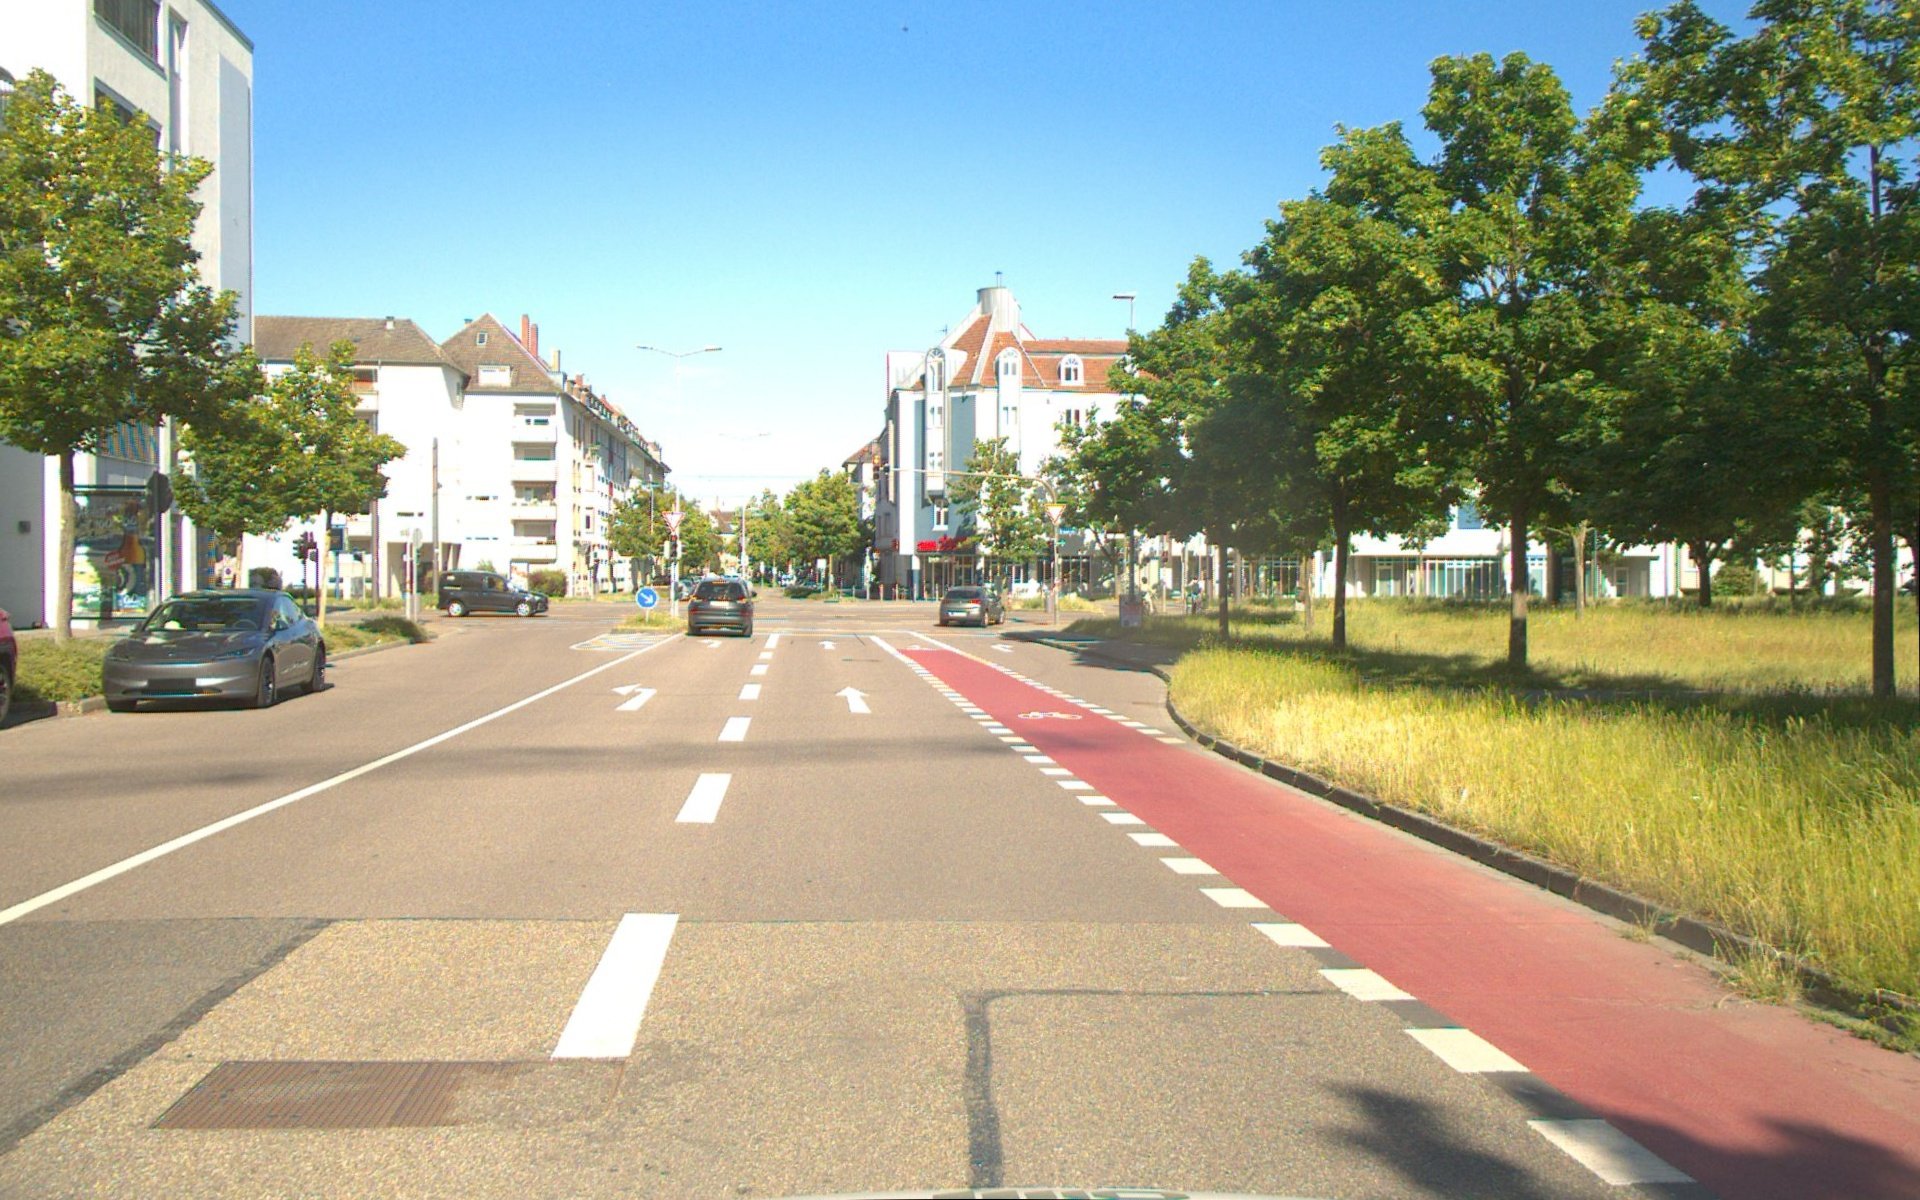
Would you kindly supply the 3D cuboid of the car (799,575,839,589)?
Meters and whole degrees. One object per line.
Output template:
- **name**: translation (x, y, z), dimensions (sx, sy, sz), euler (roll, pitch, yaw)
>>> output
- **car**: translation (-13.005, -1.690, 152.569), dimensions (3.507, 1.244, 1.724), euler (1, 0, -15)

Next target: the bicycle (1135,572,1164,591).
- **bicycle**: translation (12.455, -1.198, 108.587), dimensions (1.830, 1.203, 0.561), euler (0, 1, -11)

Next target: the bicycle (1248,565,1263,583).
- **bicycle**: translation (19.742, -1.735, 110.473), dimensions (0.549, 1.203, 1.868), euler (0, 1, -5)

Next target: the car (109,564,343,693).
- **car**: translation (-9.491, 0.283, 21.772), dimensions (1.657, 1.494, 4.538), euler (-1, 1, -9)

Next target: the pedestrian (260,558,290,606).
- **pedestrian**: translation (-25.399, -0.671, 61.324), dimensions (0.796, 1.756, 1.151), euler (0, 1, -11)

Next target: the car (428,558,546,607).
- **car**: translation (-19.375, -0.722, 67.932), dimensions (4.400, 1.832, 1.761), euler (2, 1, -10)

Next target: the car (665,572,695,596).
- **car**: translation (-19.596, -1.121, 115.822), dimensions (1.719, 1.583, 3.727), euler (2, 1, -5)

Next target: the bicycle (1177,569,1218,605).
- **bicycle**: translation (9.402, -0.528, 65.375), dimensions (0.776, 1.371, 2.258), euler (0, 1, 31)

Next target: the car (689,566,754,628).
- **car**: translation (-6.924, -0.119, 48.251), dimensions (1.721, 1.656, 4.471), euler (2, 1, -8)

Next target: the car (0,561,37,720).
- **car**: translation (-10.556, 0.416, 15.671), dimensions (1.656, 1.635, 4.303), euler (2, 1, -8)

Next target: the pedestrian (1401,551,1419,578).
- **pedestrian**: translation (29.667, -2.348, 108.935), dimensions (0.971, 1.753, 0.653), euler (0, 1, -8)

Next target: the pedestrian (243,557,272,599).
- **pedestrian**: translation (-30.532, -0.972, 71.896), dimensions (0.904, 1.801, 1.151), euler (0, 1, -11)

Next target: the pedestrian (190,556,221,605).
- **pedestrian**: translation (-27.790, -0.722, 60.934), dimensions (0.796, 1.756, 1.151), euler (0, 1, -11)

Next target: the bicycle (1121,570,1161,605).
- **bicycle**: translation (7.140, -0.503, 65.129), dimensions (0.776, 1.371, 2.074), euler (0, 1, 31)

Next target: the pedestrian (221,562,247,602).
- **pedestrian**: translation (-32.074, -0.793, 73.088), dimensions (0.796, 1.756, 1.151), euler (0, 1, -11)

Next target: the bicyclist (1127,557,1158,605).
- **bicyclist**: translation (7.202, -0.754, 65.234), dimensions (0.776, 1.856, 1.133), euler (0, 1, 31)

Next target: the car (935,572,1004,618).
- **car**: translation (0.389, -0.192, 61.919), dimensions (1.652, 1.605, 3.874), euler (2, 1, 14)

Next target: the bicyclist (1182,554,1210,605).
- **bicyclist**: translation (9.319, -0.829, 65.256), dimensions (0.776, 1.993, 1.009), euler (0, 1, 31)
